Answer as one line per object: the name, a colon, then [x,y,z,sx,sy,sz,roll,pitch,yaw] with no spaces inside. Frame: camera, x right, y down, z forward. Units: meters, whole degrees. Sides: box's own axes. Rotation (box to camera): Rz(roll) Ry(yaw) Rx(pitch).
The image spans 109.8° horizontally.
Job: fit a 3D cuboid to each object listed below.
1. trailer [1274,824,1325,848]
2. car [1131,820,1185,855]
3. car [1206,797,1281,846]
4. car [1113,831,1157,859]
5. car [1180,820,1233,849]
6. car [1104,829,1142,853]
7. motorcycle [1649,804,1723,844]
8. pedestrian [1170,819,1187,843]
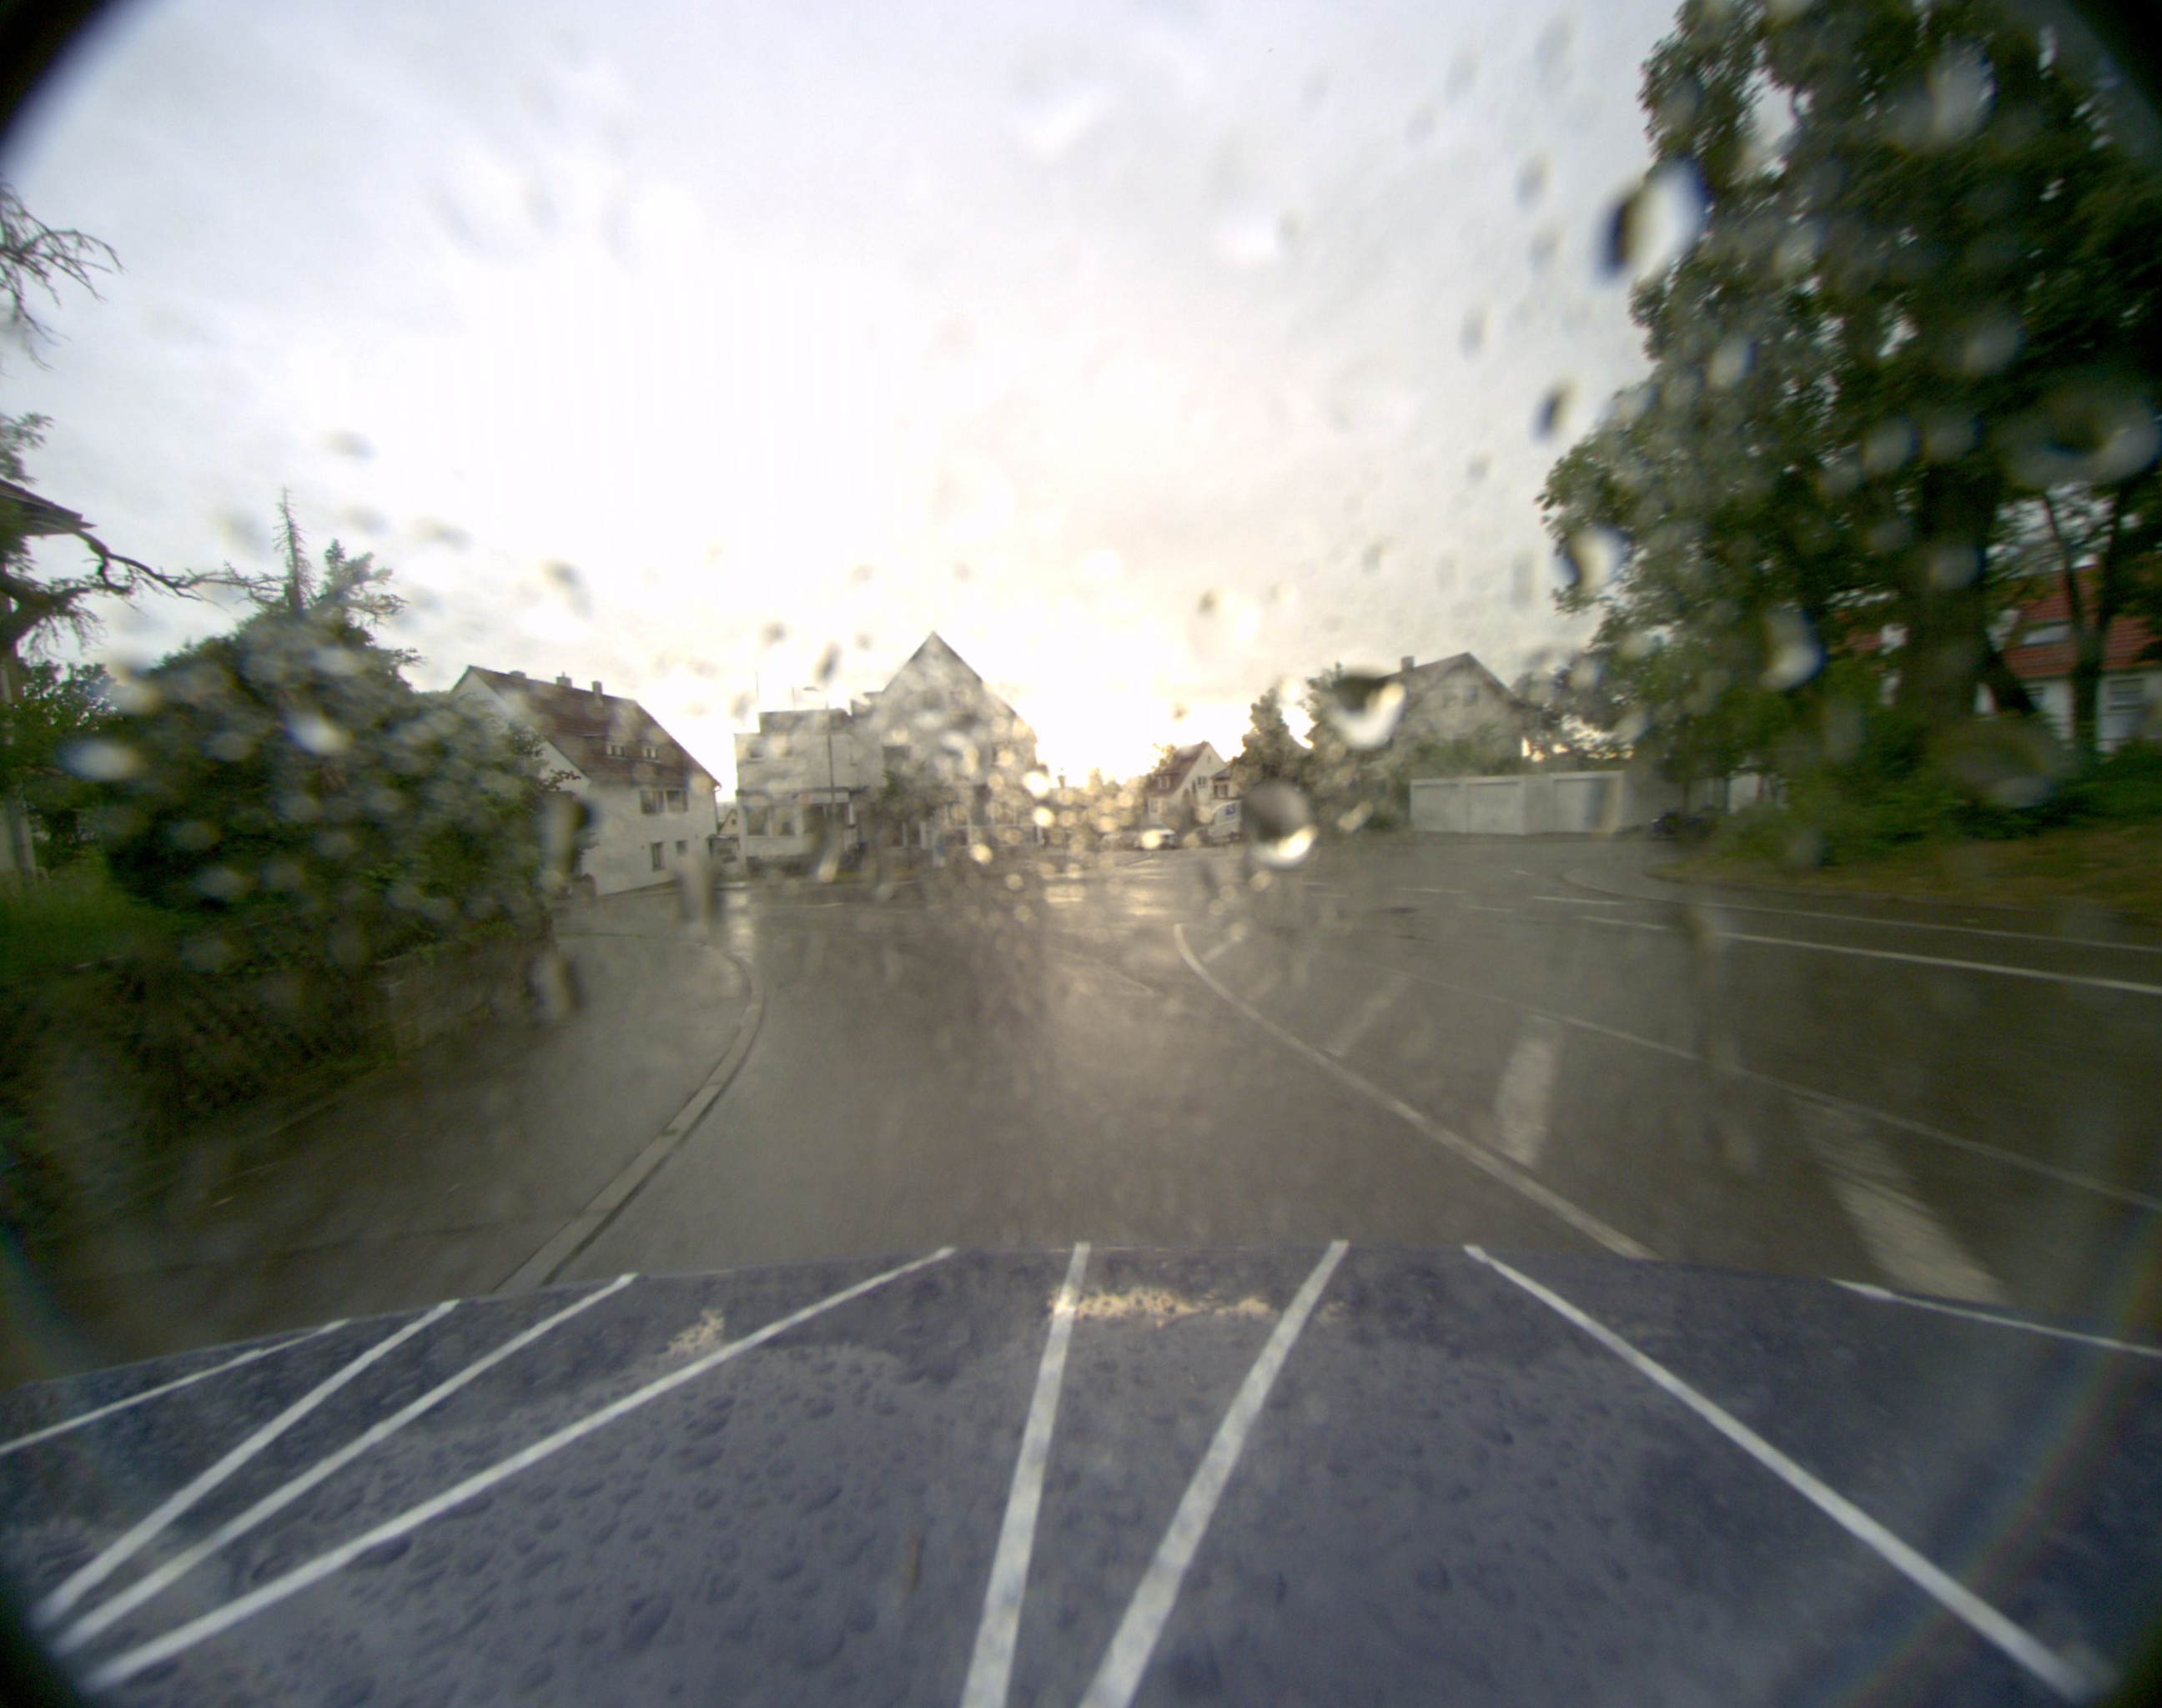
trailer: [10.630,-0.883,37.132,1.592,1.001,2.821,-5,2,-1]
car: [4.148,-0.943,41.663,2.066,1.697,4.790,-4,3,-3]
car: [9.293,-1.854,44.216,2.191,2.509,6.247,-4,3,-7]
car: [3.361,-0.605,47.961,2.066,1.502,4.478,-4,3,-3]
car: [8.374,-1.333,51.186,2.067,1.697,4.788,-4,3,-7]
car: [2.946,-0.956,53.843,2.066,1.502,4.478,-4,3,-3]
motorcycle: [21.746,-1.063,27.334,2.040,1.315,0.710,-2,4,41]
pedestrian: [6.622,-1.563,51.488,0.825,1.502,0.976,-4,3,-7]
